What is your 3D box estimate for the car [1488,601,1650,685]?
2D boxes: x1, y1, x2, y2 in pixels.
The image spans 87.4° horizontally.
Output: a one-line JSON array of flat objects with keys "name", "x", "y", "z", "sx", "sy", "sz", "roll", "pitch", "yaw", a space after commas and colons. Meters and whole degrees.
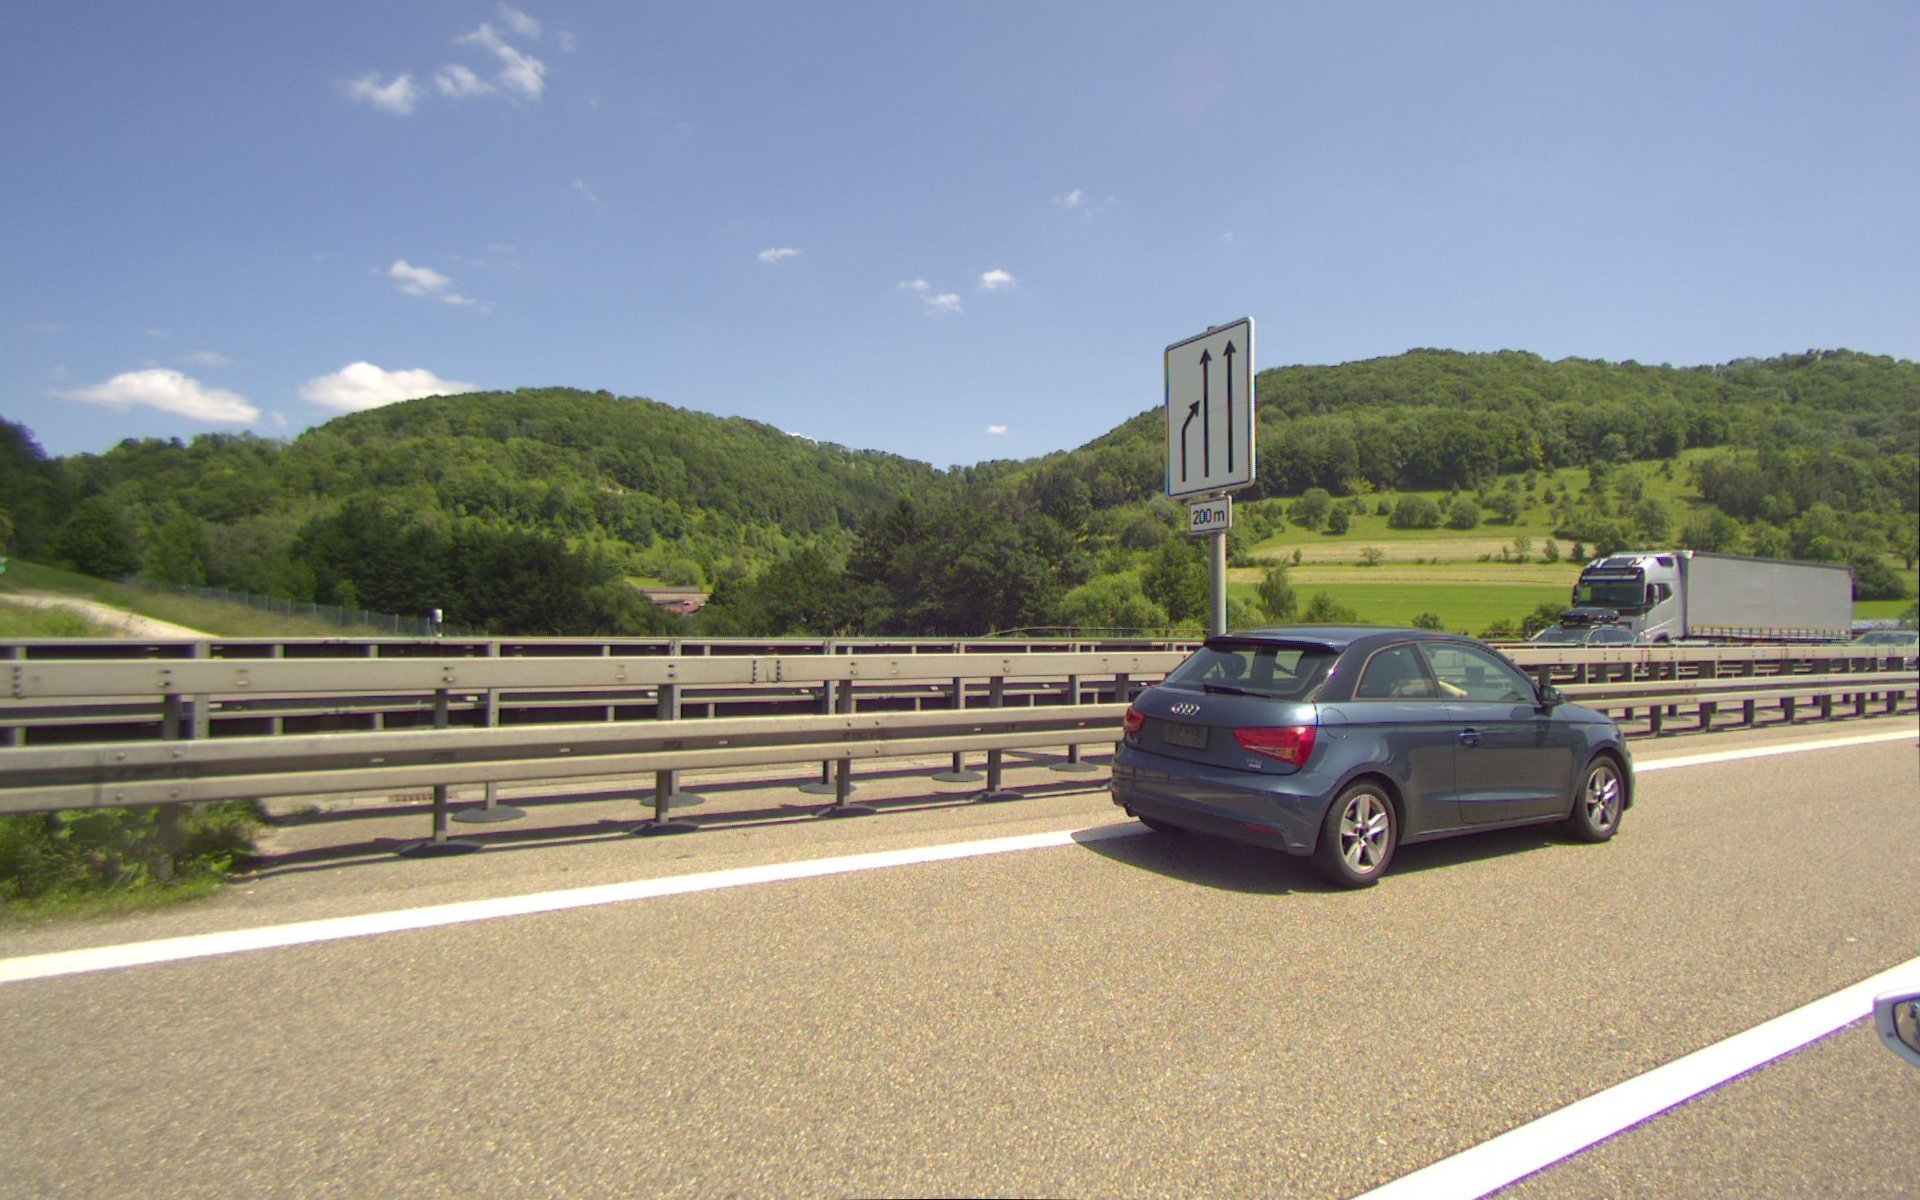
[{"name": "car", "x": 16.626, "y": 1.130, "z": 27.401, "sx": 4.229, "sy": 2.146, "sz": 1.878, "roll": 1, "pitch": 0, "yaw": -28}]

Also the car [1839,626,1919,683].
[{"name": "car", "x": 27.349, "y": 1.527, "z": 29.059, "sx": 3.977, "sy": 1.504, "sz": 1.759, "roll": 1, "pitch": -1, "yaw": -31}]

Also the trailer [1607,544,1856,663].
[{"name": "trailer", "x": 31.457, "y": 0.290, "z": 40.665, "sx": 12.845, "sy": 4.260, "sz": 3.232, "roll": 2, "pitch": 0, "yaw": -30}]

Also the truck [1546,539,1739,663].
[{"name": "truck", "x": 25.305, "y": 0.133, "z": 37.181, "sx": 6.874, "sy": 4.203, "sz": 3.262, "roll": 2, "pitch": 0, "yaw": -30}]

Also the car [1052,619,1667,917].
[{"name": "car", "x": 2.695, "y": 0.855, "z": 6.561, "sx": 3.953, "sy": 1.407, "sz": 1.680, "roll": 1, "pitch": -1, "yaw": -31}]
